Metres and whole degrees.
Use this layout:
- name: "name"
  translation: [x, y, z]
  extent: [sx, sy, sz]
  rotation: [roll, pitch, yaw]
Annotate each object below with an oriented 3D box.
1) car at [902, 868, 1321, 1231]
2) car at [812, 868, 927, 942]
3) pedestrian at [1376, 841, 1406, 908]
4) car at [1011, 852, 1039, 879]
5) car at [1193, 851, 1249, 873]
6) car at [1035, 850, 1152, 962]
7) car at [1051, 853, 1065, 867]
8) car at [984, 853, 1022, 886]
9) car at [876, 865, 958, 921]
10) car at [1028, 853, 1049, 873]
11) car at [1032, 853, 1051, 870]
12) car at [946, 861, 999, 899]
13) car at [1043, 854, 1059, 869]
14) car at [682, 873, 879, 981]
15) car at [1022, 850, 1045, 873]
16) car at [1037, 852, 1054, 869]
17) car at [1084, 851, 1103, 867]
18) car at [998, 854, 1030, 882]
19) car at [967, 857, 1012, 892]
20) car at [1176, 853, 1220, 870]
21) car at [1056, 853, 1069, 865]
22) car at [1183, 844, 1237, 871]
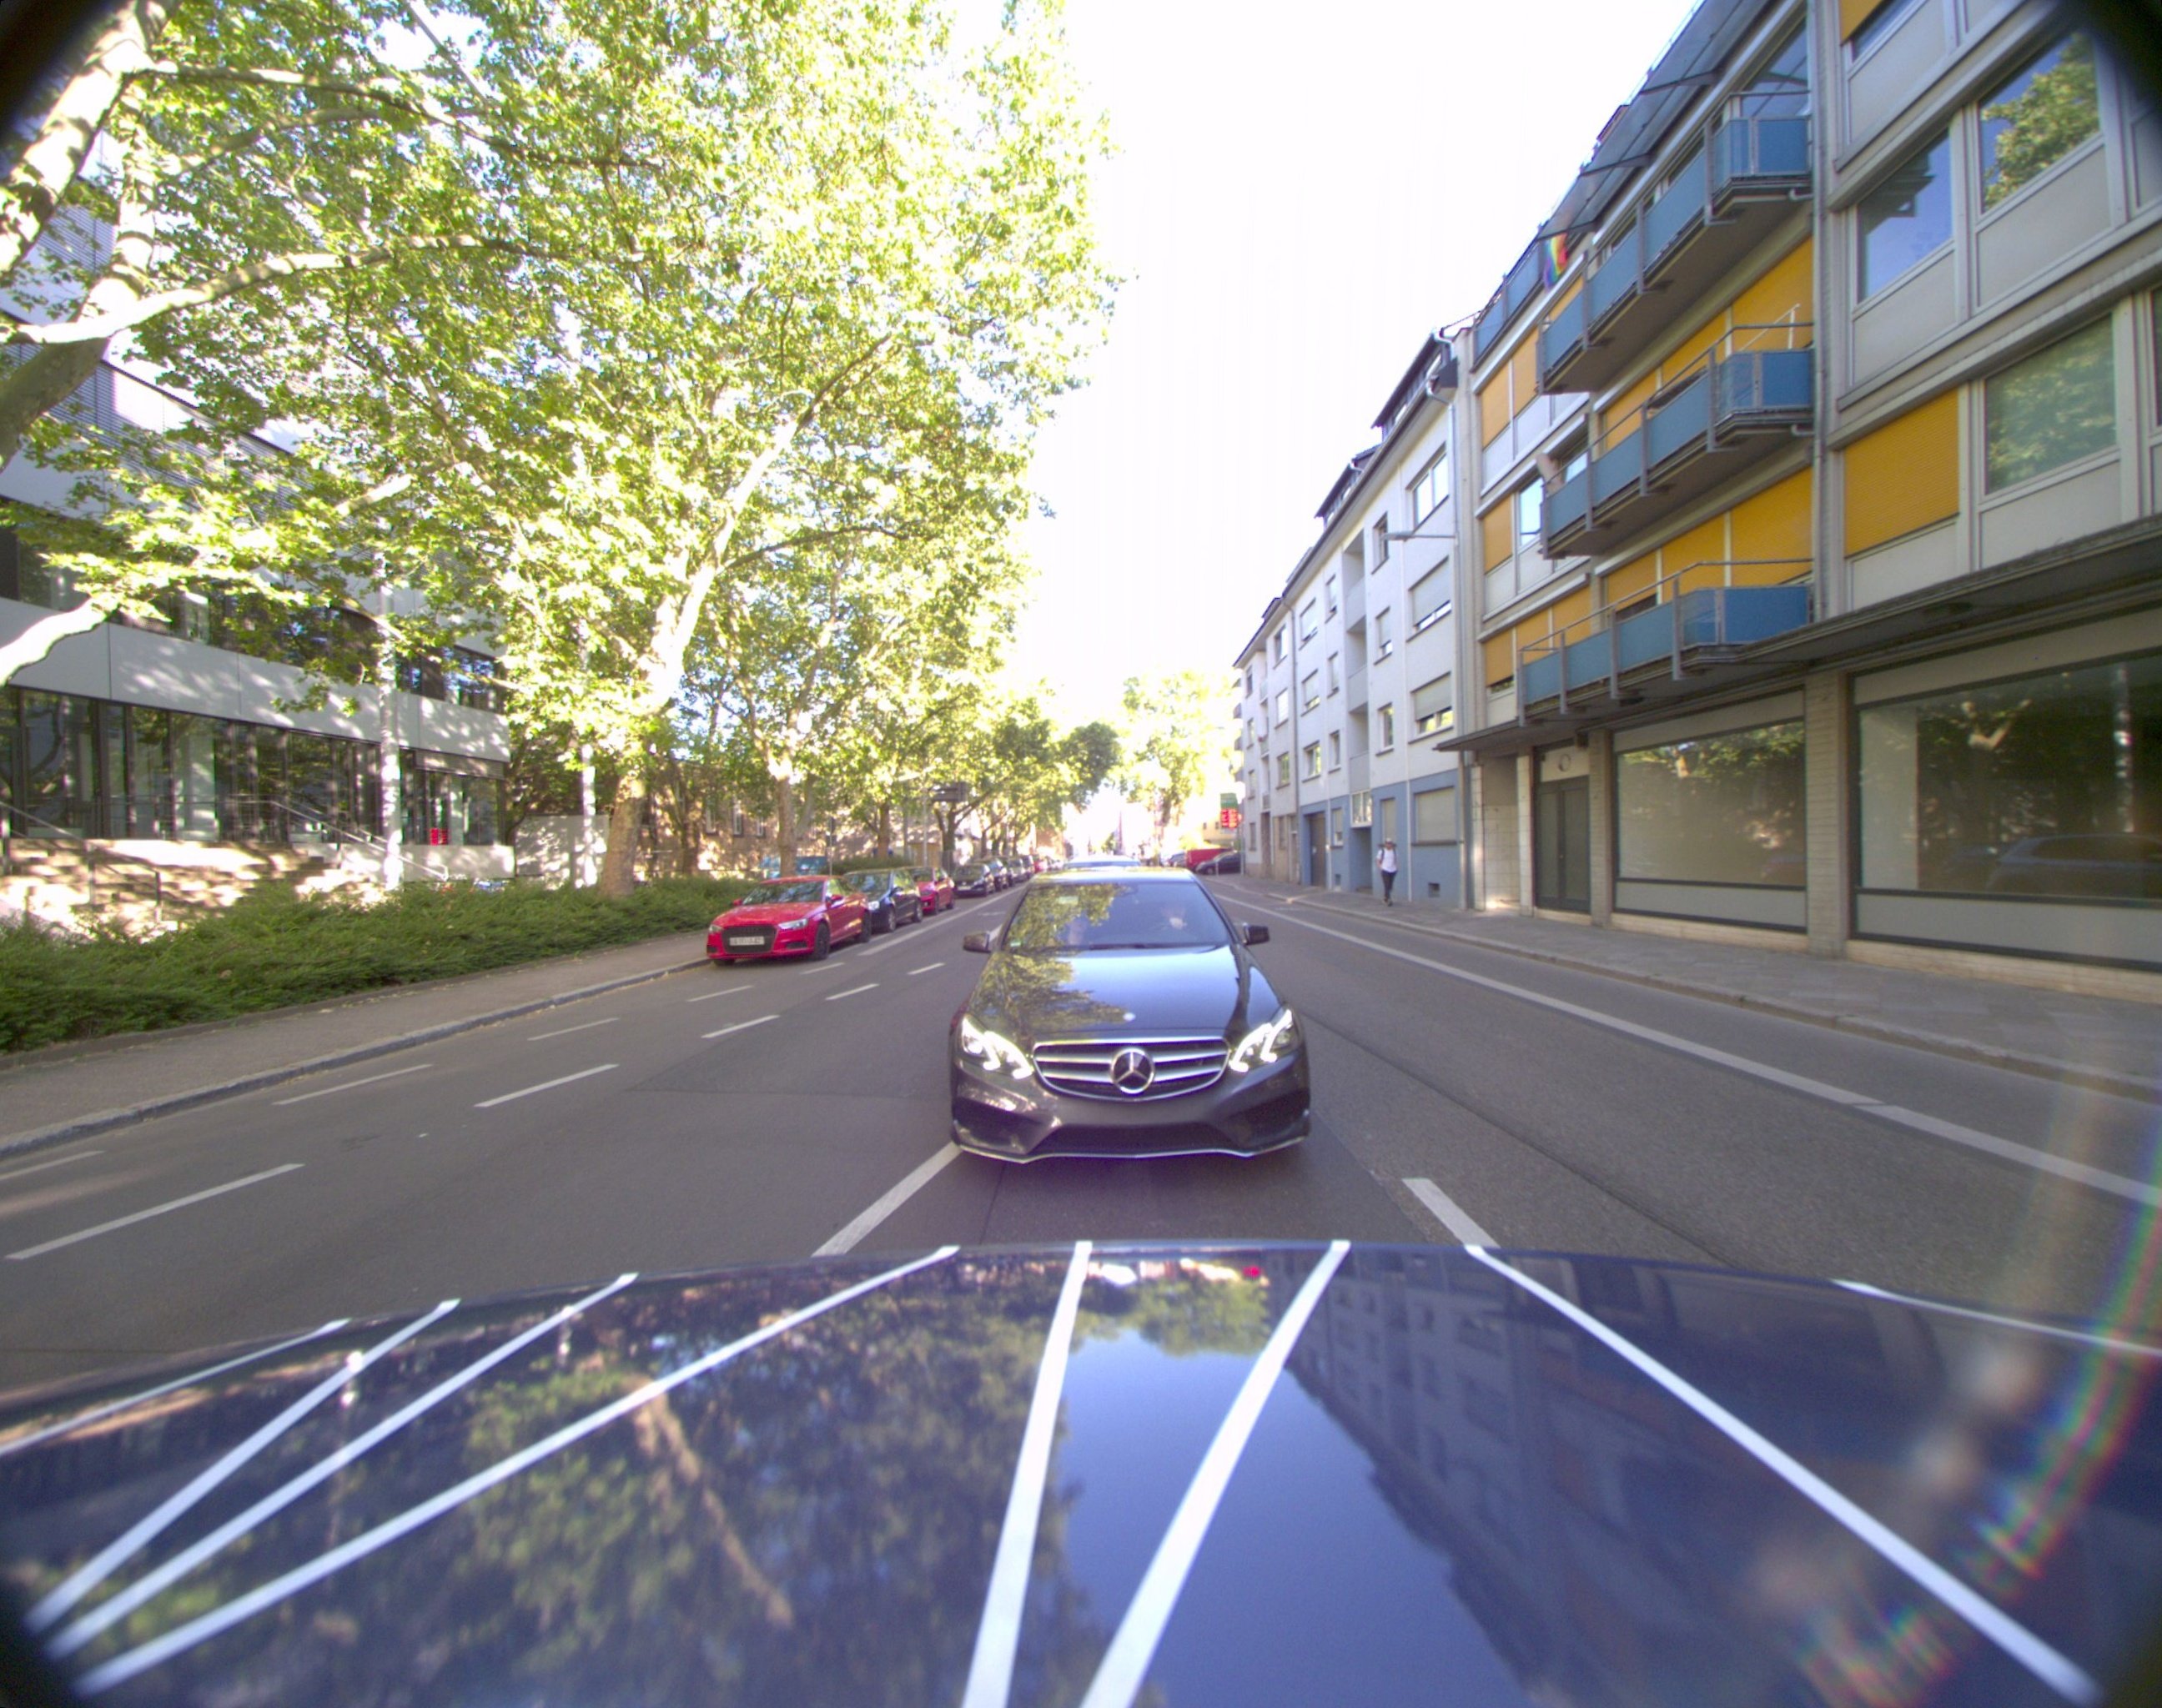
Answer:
- name: "car"
  translation: [0.164, 0.915, 5.459]
  extent: [1.804, 1.455, 4.125]
  rotation: [-3, 0, 1]
- name: "car"
  translation: [-5.002, 1.148, 18.479]
  extent: [1.635, 1.455, 3.740]
  rotation: [-3, 0, 1]
- name: "pedestrian"
  translation: [8.188, 0.538, 20.065]
  extent: [0.569, 1.716, 0.343]
  rotation: [-3, 1, 1]
- name: "car"
  translation: [-4.075, 0.831, 55.531]
  extent: [1.635, 1.799, 3.673]
  rotation: [-3, 0, 1]
- name: "car"
  translation: [10.074, 0.562, 54.685]
  extent: [3.670, 1.403, 1.636]
  rotation: [-3, 0, 1]
- name: "car"
  translation: [0.216, 0.782, 13.557]
  extent: [1.680, 1.622, 4.125]
  rotation: [-3, 0, 1]
- name: "car"
  translation: [-3.047, 0.793, 102.734]
  extent: [1.635, 1.713, 3.673]
  rotation: [-3, 0, 1]
- name: "car"
  translation: [-4.493, 0.856, 44.154]
  extent: [1.635, 1.795, 3.845]
  rotation: [-3, 0, 1]
- name: "car"
  translation: [-5.005, 1.147, 23.630]
  extent: [1.635, 1.455, 3.740]
  rotation: [-3, 0, 1]
- name: "car"
  translation: [-3.938, 0.799, 70.788]
  extent: [1.635, 1.713, 3.673]
  rotation: [-3, 0, 1]
- name: "car"
  translation: [-4.064, 0.746, 78.251]
  extent: [1.635, 1.713, 3.673]
  rotation: [-3, 0, 1]
- name: "car"
  translation: [-4.680, 1.095, 33.234]
  extent: [1.635, 1.455, 3.740]
  rotation: [-3, 0, 1]
- name: "car"
  translation: [-3.604, 0.927, 92.168]
  extent: [1.635, 1.713, 3.673]
  rotation: [-3, 0, 1]
- name: "car"
  translation: [-5.157, 1.164, 13.712]
  extent: [1.804, 1.455, 4.125]
  rotation: [-3, 0, 1]
- name: "car"
  translation: [-4.132, 0.642, 66.088]
  extent: [1.635, 1.878, 3.673]
  rotation: [-3, 0, 1]
- name: "car"
  translation: [-3.952, 0.716, 86.039]
  extent: [1.635, 1.713, 3.673]
  rotation: [-3, 0, 1]
- name: "car"
  translation: [1.261, 0.493, 76.747]
  extent: [1.853, 1.455, 4.099]
  rotation: [-3, 0, 1]
- name: "car"
  translation: [-4.422, 0.899, 50.713]
  extent: [1.635, 1.644, 3.845]
  rotation: [-3, 0, 1]
- name: "car"
  translation: [-4.532, 0.972, 38.040]
  extent: [1.635, 1.578, 3.845]
  rotation: [-3, 0, 1]
- name: "car"
  translation: [9.612, 0.639, 62.608]
  extent: [3.325, 1.241, 1.295]
  rotation: [-3, 0, 1]
- name: "car"
  translation: [-2.710, 0.716, 109.635]
  extent: [1.635, 1.713, 3.673]
  rotation: [-3, 0, 1]
- name: "car"
  translation: [10.154, 0.267, 59.980]
  extent: [3.927, 1.912, 1.636]
  rotation: [-3, 0, 1]
